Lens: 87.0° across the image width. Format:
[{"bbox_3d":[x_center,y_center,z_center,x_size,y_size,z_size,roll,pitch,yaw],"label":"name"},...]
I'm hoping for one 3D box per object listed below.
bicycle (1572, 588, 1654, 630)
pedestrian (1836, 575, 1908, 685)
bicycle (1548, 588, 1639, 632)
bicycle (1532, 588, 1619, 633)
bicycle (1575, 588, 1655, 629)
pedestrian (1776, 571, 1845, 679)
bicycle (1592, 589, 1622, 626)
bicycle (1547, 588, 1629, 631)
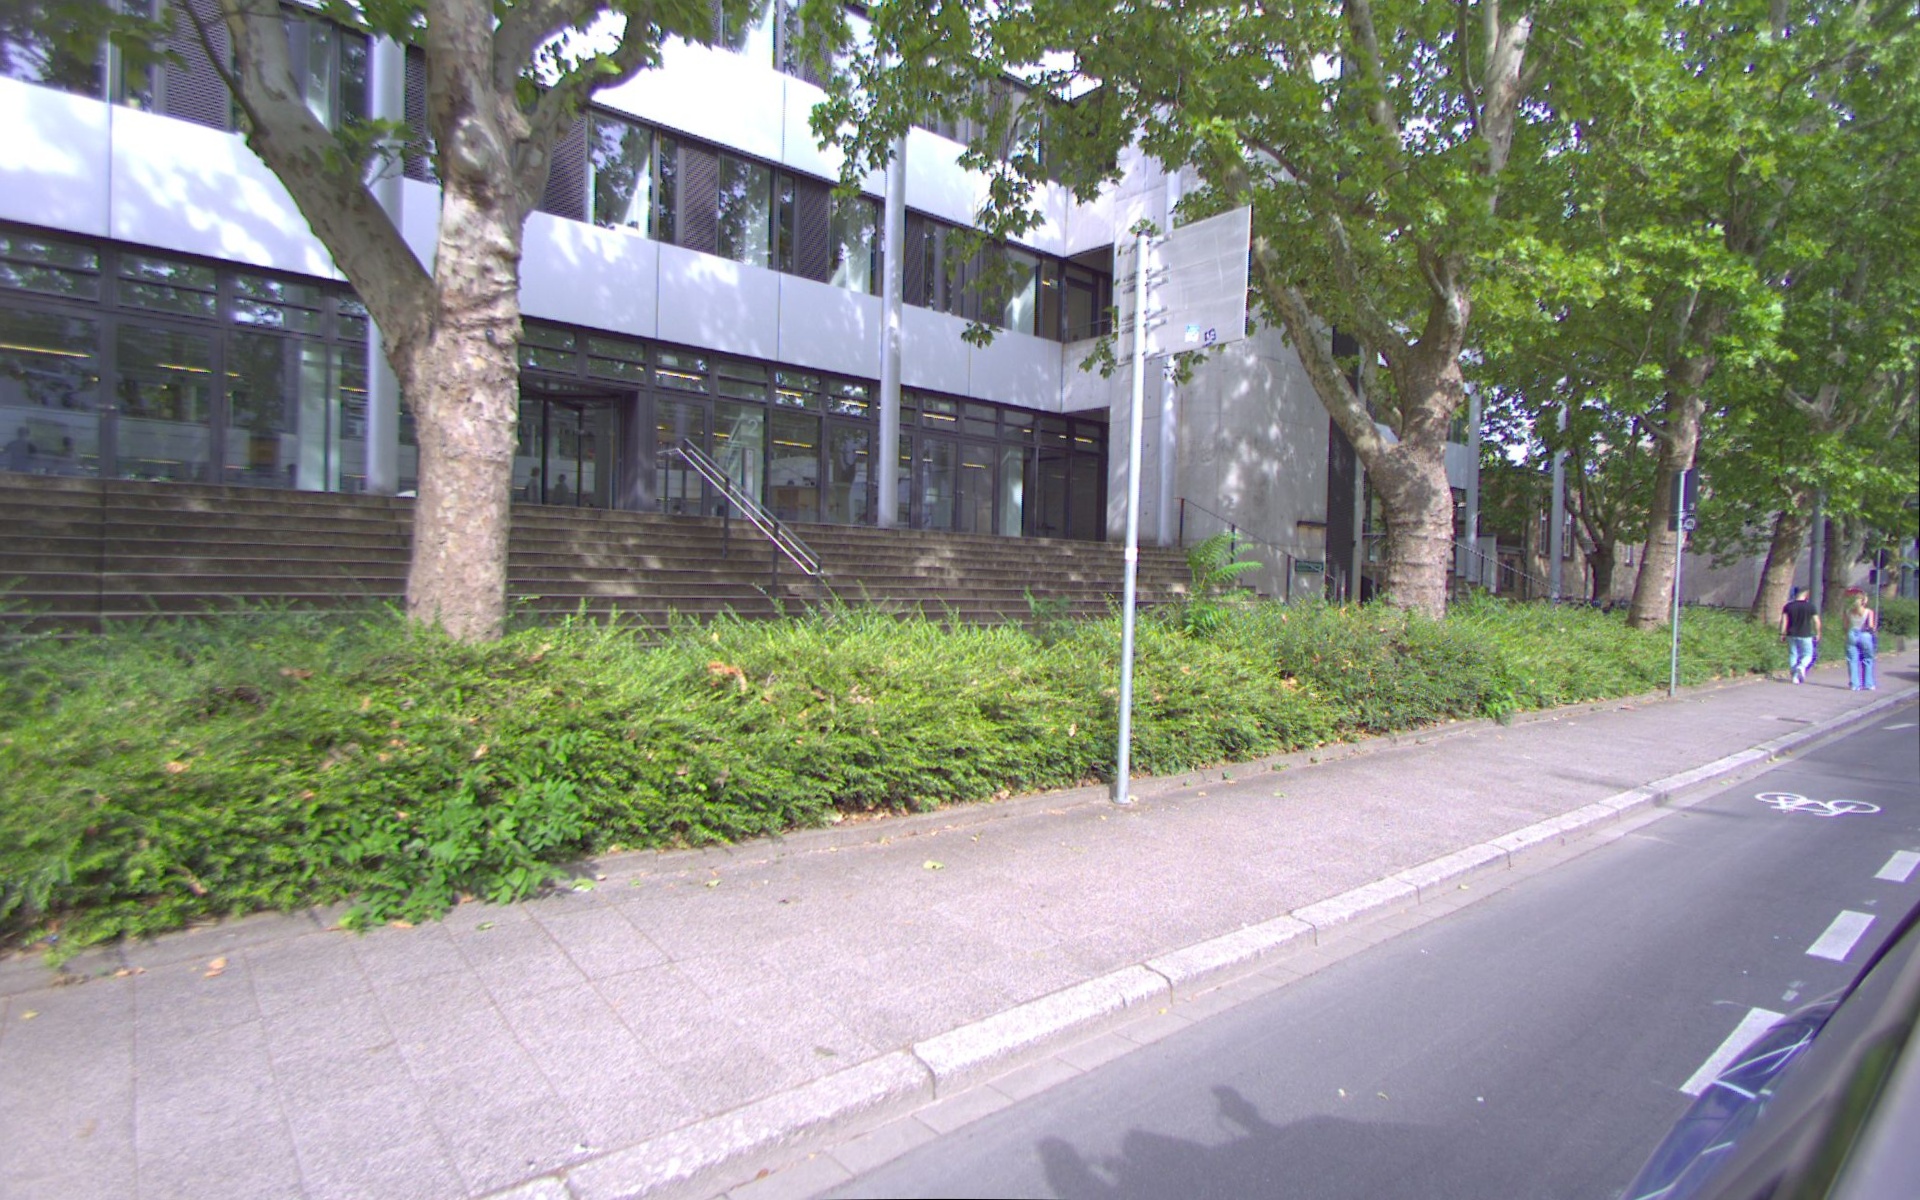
[{"bbox_3d":[19.547,0.264,30.332,0.661,1.131,1.919,1,3,-40],"label":"bicycle"},{"bbox_3d":[15.675,0.491,17.393,1.016,1.805,0.712,0,3,-42],"label":"pedestrian"},{"bbox_3d":[18.080,0.276,28.922,0.661,1.131,2.084,1,3,-40],"label":"bicycle"},{"bbox_3d":[17.069,0.281,28.085,0.661,1.131,1.919,1,3,-40],"label":"bicycle"},{"bbox_3d":[20.188,0.253,31.233,0.661,1.131,1.919,1,3,-40],"label":"bicycle"},{"bbox_3d":[15.159,0.425,18.036,1.016,1.821,0.716,0,3,-42],"label":"pedestrian"},{"bbox_3d":[20.819,0.242,32.563,0.491,1.131,1.415,4,2,44],"label":"bicycle"},{"bbox_3d":[18.563,0.261,29.944,0.661,1.131,1.919,1,3,-40],"label":"bicycle"}]
